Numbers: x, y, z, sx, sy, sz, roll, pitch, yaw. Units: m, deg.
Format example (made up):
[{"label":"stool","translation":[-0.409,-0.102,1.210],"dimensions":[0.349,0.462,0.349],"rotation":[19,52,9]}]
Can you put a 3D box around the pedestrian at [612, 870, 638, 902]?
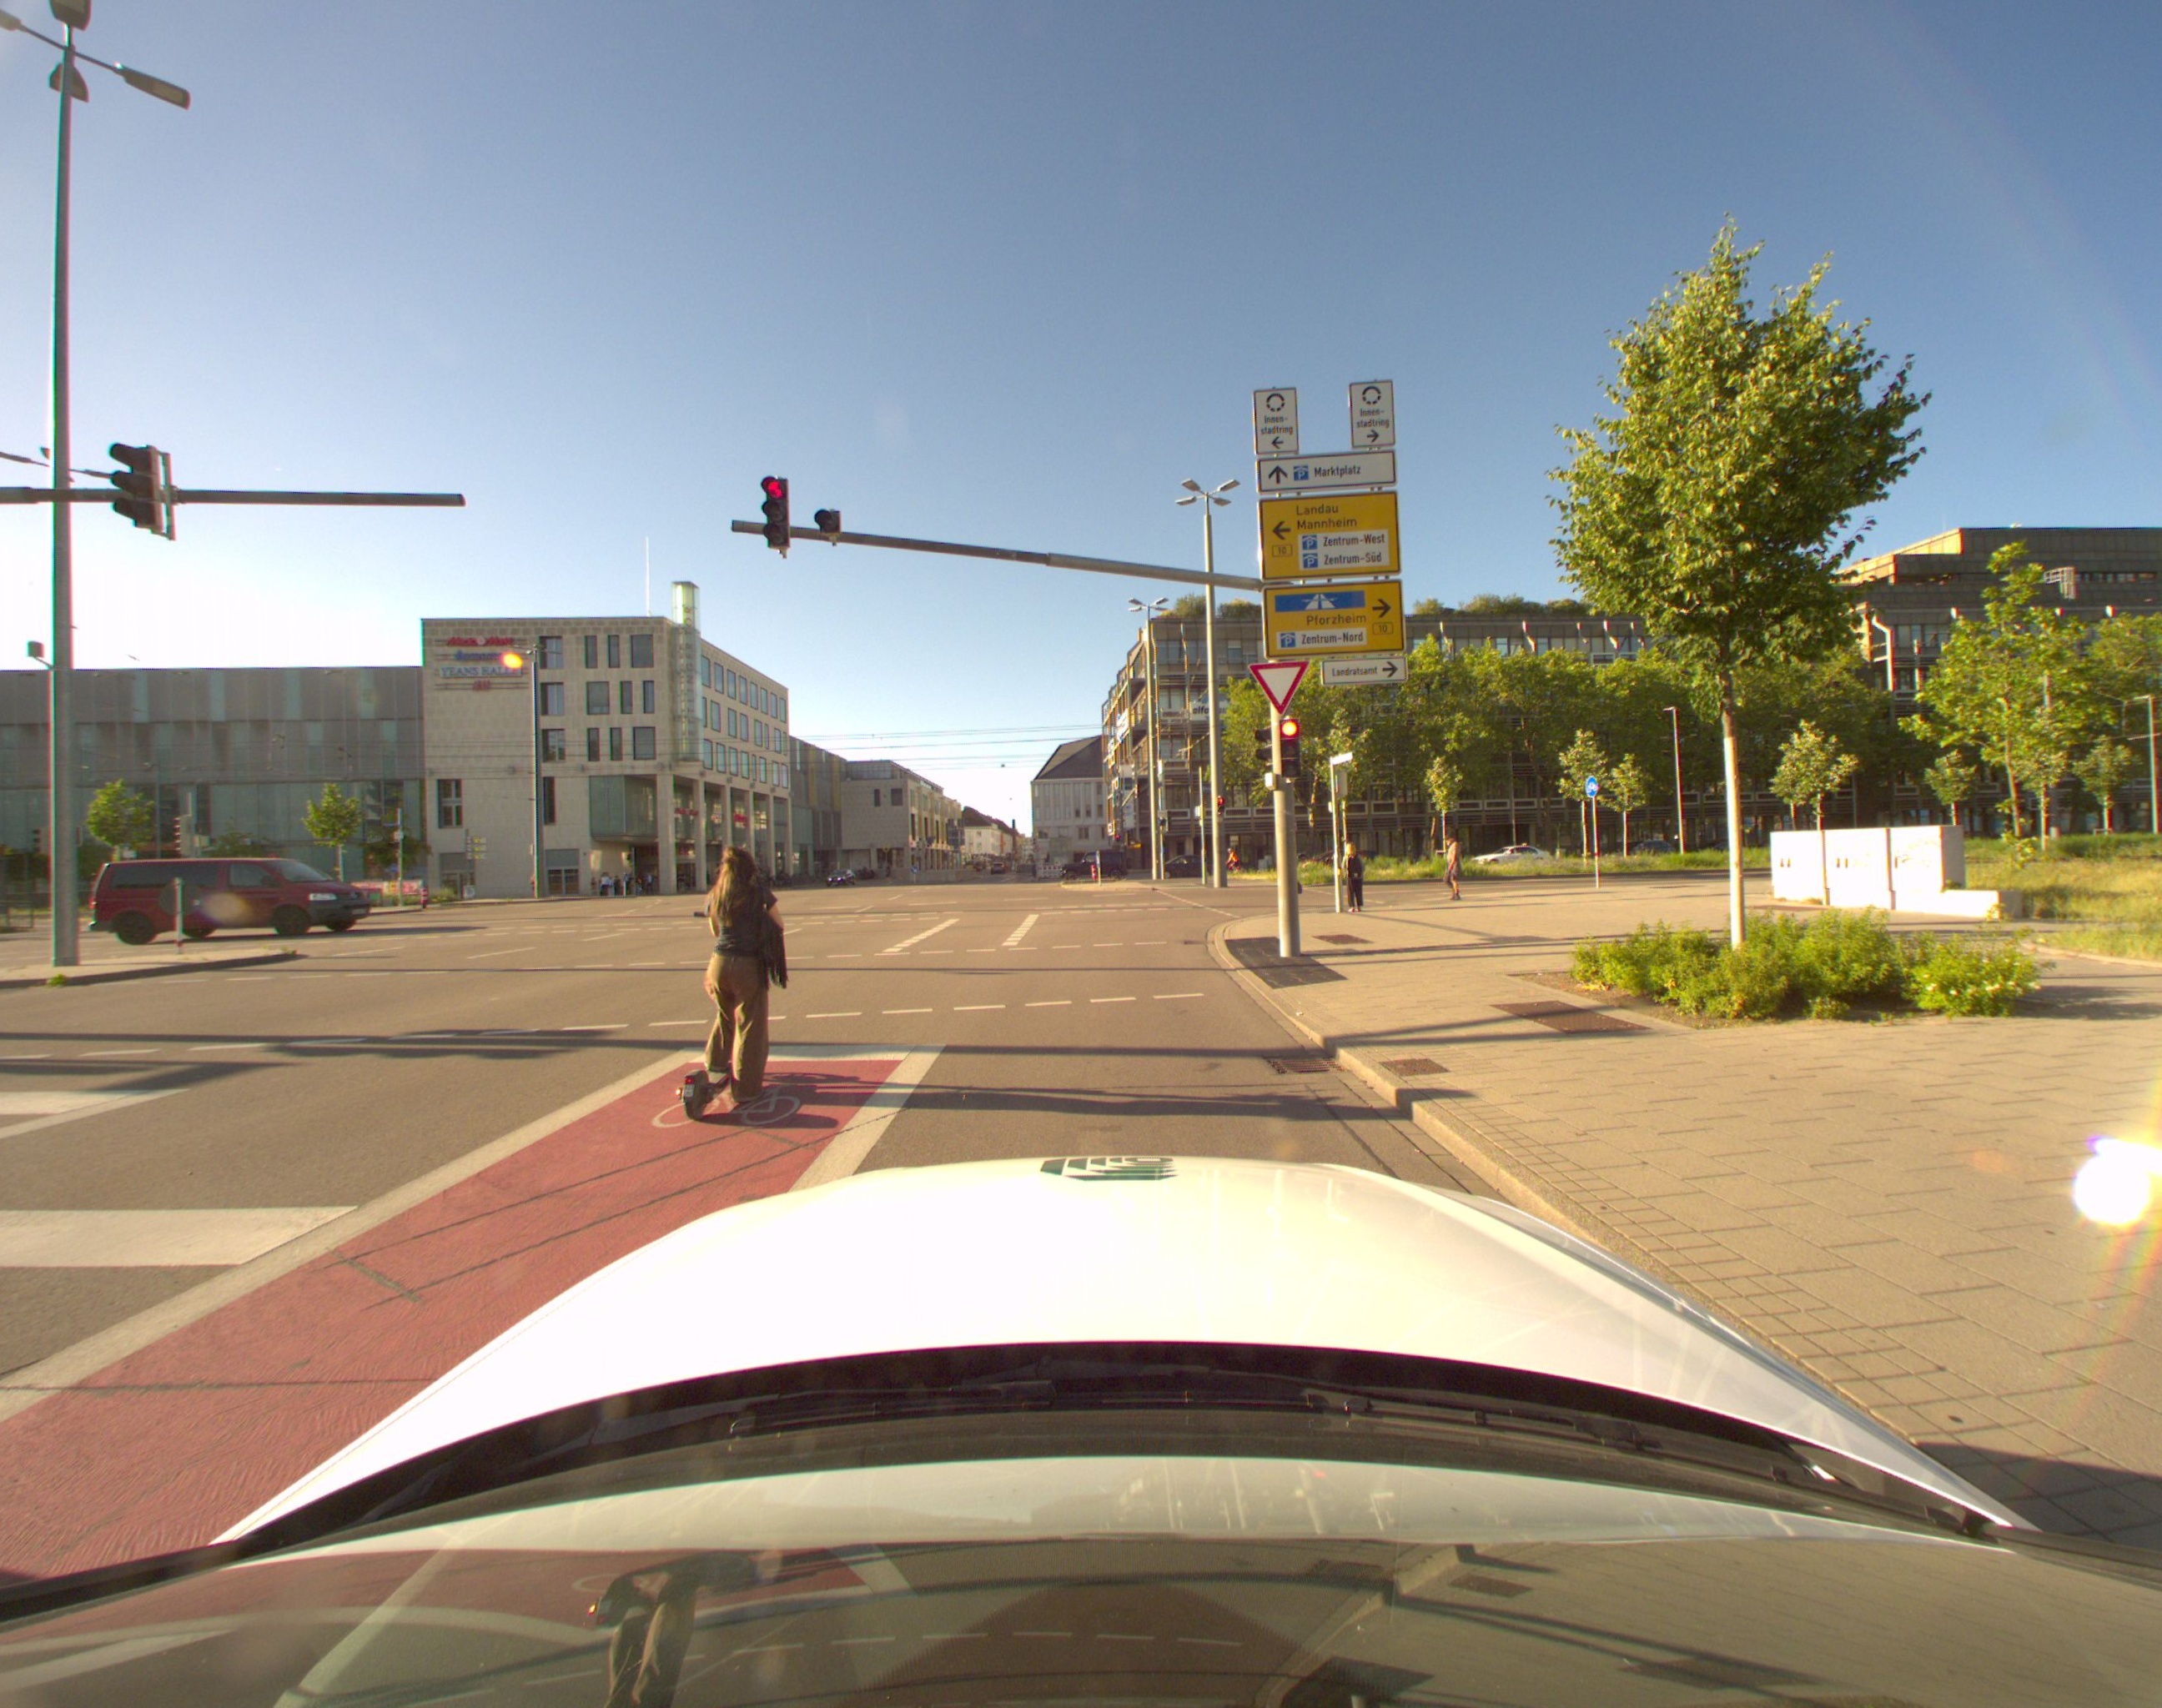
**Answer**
[{"label":"pedestrian","translation":[-25.139,1.766,44.910],"dimensions":[0.821,1.675,1.004],"rotation":[-2,0,-2]}]

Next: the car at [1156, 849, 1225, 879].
[{"label":"car","translation":[6.703,0.590,50.050],"dimensions":[3.973,1.684,1.761],"rotation":[-2,0,0]}]

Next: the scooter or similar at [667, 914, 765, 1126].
[{"label":"scooter or similar","translation":[-2.196,0.953,4.956],"dimensions":[0.306,1.107,0.835],"rotation":[-2,0,-9]}]

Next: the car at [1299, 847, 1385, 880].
[{"label":"car","translation":[14.778,0.526,46.253],"dimensions":[4.287,1.684,1.820],"rotation":[-2,0,-9]}]

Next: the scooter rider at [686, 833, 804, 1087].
[{"label":"scooter rider","translation":[-2.135,0.647,5.217],"dimensions":[0.552,1.530,0.448],"rotation":[-2,0,-7]}]

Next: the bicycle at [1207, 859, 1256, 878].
[{"label":"bicycle","translation":[8.679,0.825,47.055],"dimensions":[2.561,0.975,1.047],"rotation":[-2,0,-1]}]

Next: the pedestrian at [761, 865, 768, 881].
[{"label":"pedestrian","translation":[-33.639,2.005,86.549],"dimensions":[0.465,1.729,0.524],"rotation":[-1,-1,40]}]

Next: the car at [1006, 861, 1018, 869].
[{"label":"car","translation":[-12.337,1.940,146.412],"dimensions":[1.652,1.458,3.543],"rotation":[-2,0,2]}]

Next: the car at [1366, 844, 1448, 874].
[{"label":"car","translation":[20.351,0.305,50.975],"dimensions":[4.392,1.684,1.824],"rotation":[-2,0,-2]}]

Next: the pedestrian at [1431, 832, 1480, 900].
[{"label":"pedestrian","translation":[9.656,0.307,21.025],"dimensions":[0.869,1.706,0.768],"rotation":[-2,0,0]}]

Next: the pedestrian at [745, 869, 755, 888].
[{"label":"pedestrian","translation":[-29.798,2.185,73.262],"dimensions":[0.590,1.646,0.629],"rotation":[-2,0,1]}]

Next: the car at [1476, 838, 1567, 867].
[{"label":"car","translation":[27.864,-0.102,51.598],"dimensions":[4.831,1.684,1.824],"rotation":[-2,0,-2]}]

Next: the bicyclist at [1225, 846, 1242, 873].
[{"label":"bicyclist","translation":[8.825,0.312,47.071],"dimensions":[0.820,1.474,0.652],"rotation":[-2,0,-2]}]

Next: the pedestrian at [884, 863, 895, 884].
[{"label":"pedestrian","translation":[-14.993,1.542,63.832],"dimensions":[0.778,1.638,0.623],"rotation":[-2,0,-15]}]

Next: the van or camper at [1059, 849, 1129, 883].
[{"label":"van or camper","translation":[0.816,0.766,53.366],"dimensions":[4.404,2.013,1.993],"rotation":[-2,0,-3]}]

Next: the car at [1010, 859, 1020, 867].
[{"label":"car","translation":[-13.490,1.781,166.655],"dimensions":[1.652,1.458,3.543],"rotation":[-2,0,2]}]

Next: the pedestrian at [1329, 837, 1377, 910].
[{"label":"pedestrian","translation":[6.308,0.444,18.917],"dimensions":[0.763,1.614,0.874],"rotation":[-2,0,0]}]

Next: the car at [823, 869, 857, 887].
[{"label":"car","translation":[-20.784,2.072,70.465],"dimensions":[1.670,1.357,4.021],"rotation":[-2,0,1]}]

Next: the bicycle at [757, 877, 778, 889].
[{"label":"bicycle","translation":[-25.327,2.339,65.828],"dimensions":[0.633,0.903,2.220],"rotation":[-2,0,3]}]

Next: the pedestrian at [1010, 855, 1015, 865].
[{"label":"pedestrian","translation":[-13.902,1.197,165.262],"dimensions":[0.907,1.965,0.823],"rotation":[0,-1,1]}]

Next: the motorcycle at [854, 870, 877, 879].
[{"label":"motorcycle","translation":[-26.189,2.508,98.885],"dimensions":[2.600,0.993,1.113],"rotation":[0,-1,-8]}]

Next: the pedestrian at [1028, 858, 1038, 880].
[{"label":"pedestrian","translation":[-3.799,1.212,64.298],"dimensions":[0.697,1.688,0.620],"rotation":[-2,0,2]}]

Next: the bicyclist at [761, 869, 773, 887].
[{"label":"bicyclist","translation":[-25.337,1.931,65.721],"dimensions":[0.623,1.448,0.589],"rotation":[-2,0,3]}]

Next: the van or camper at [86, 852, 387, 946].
[{"label":"van or camper","translation":[-20.714,1.047,20.229],"dimensions":[4.830,2.013,1.999],"rotation":[-2,0,-12]}]

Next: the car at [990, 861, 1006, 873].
[{"label":"car","translation":[-11.017,1.755,108.528],"dimensions":[1.652,1.458,3.543],"rotation":[-2,0,2]}]

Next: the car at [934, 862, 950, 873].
[{"label":"car","translation":[-20.897,2.013,122.786],"dimensions":[1.652,1.458,3.543],"rotation":[-2,0,2]}]

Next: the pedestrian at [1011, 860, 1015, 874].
[{"label":"pedestrian","translation":[-8.125,1.556,97.283],"dimensions":[0.490,1.664,0.529],"rotation":[0,-1,-12]}]

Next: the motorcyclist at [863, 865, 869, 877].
[{"label":"motorcyclist","translation":[-26.122,2.059,99.101],"dimensions":[0.627,1.406,0.661],"rotation":[0,-1,-7]}]
